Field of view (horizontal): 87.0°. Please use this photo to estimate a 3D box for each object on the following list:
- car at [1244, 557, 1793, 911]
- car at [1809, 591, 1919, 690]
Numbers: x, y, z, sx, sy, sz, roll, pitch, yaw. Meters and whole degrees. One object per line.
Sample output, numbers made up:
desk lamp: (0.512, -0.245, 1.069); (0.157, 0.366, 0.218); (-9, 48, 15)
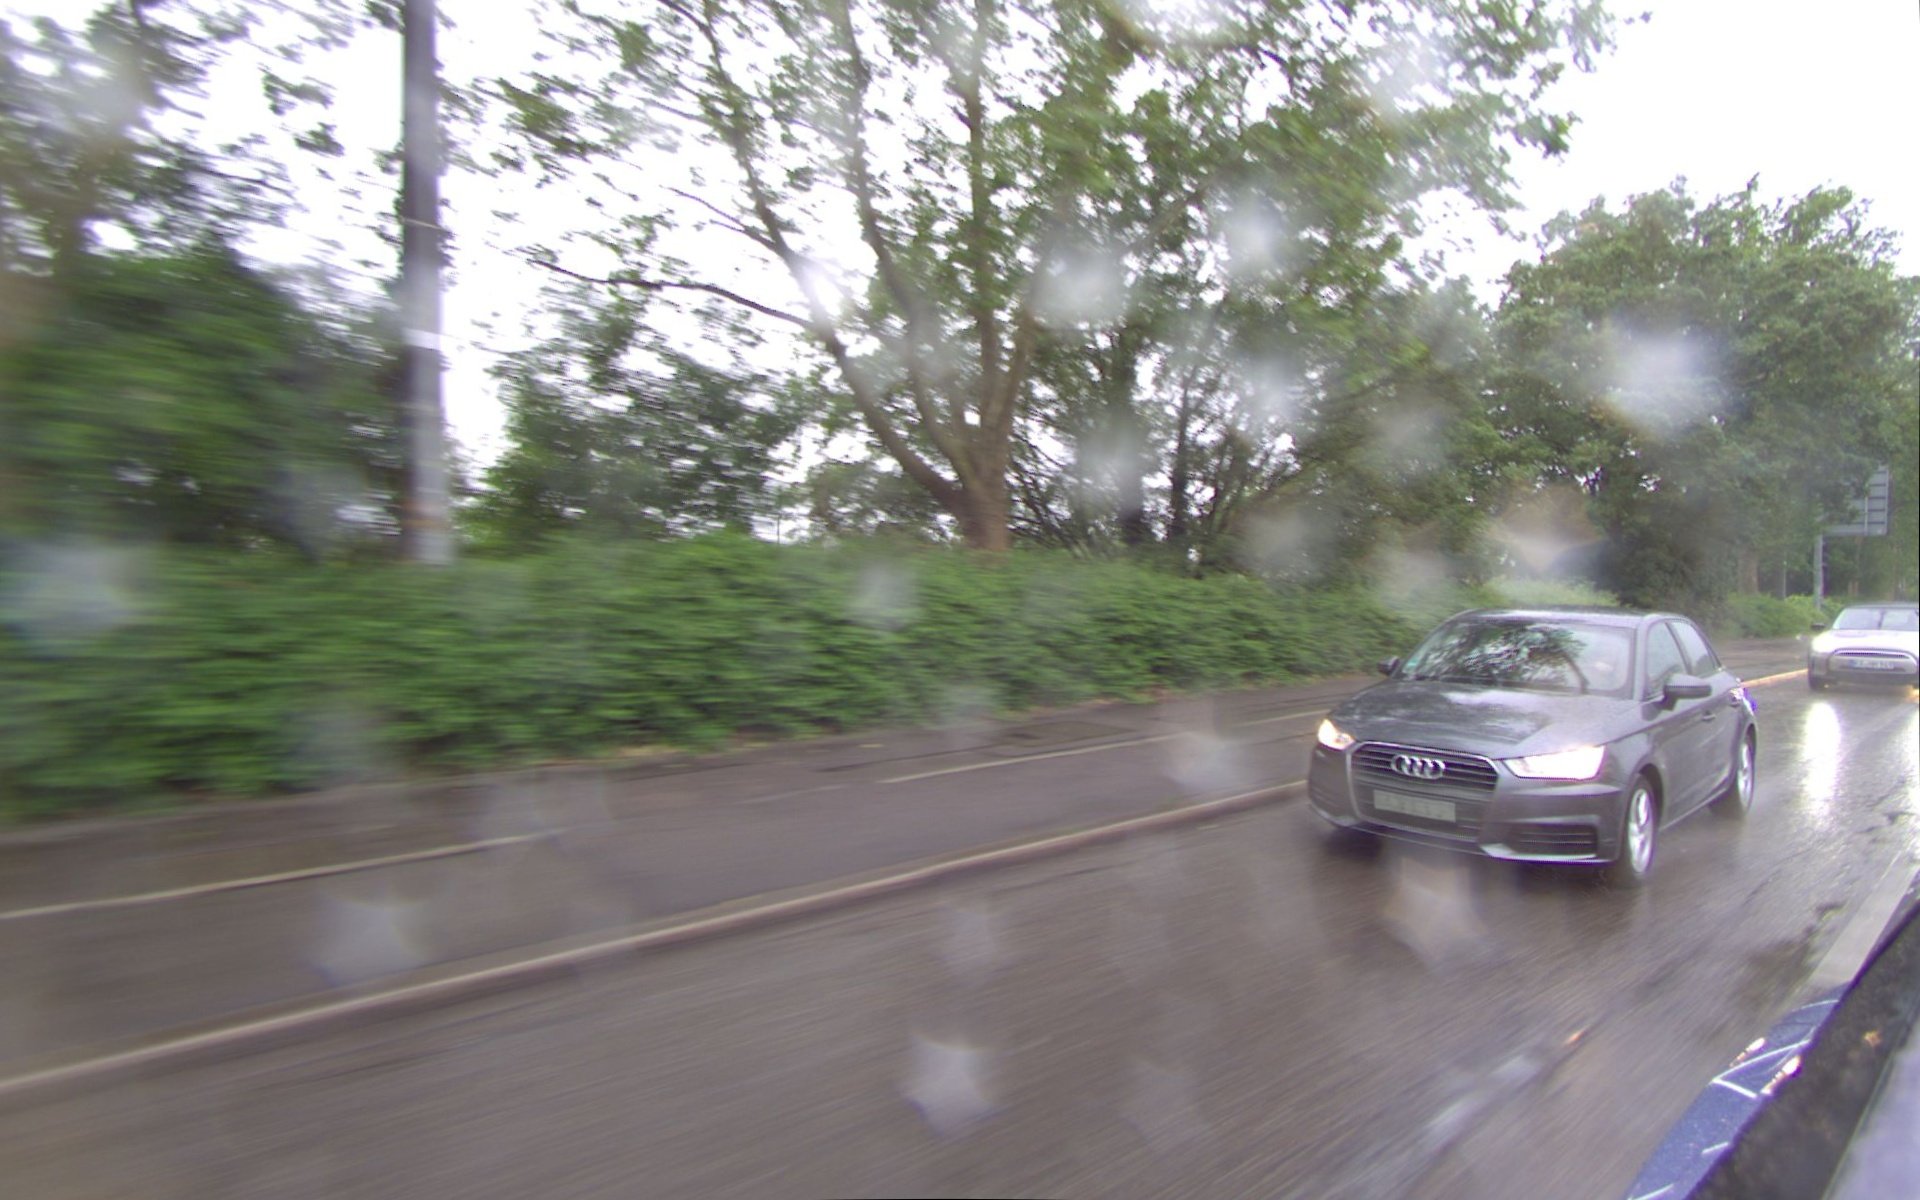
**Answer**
car: (3.754, 0.601, 6.502); (3.923, 1.548, 1.970); (1, 0, -43)
car: (15.502, 0.592, 16.725); (3.789, 1.431, 1.793); (-1, 1, -43)
